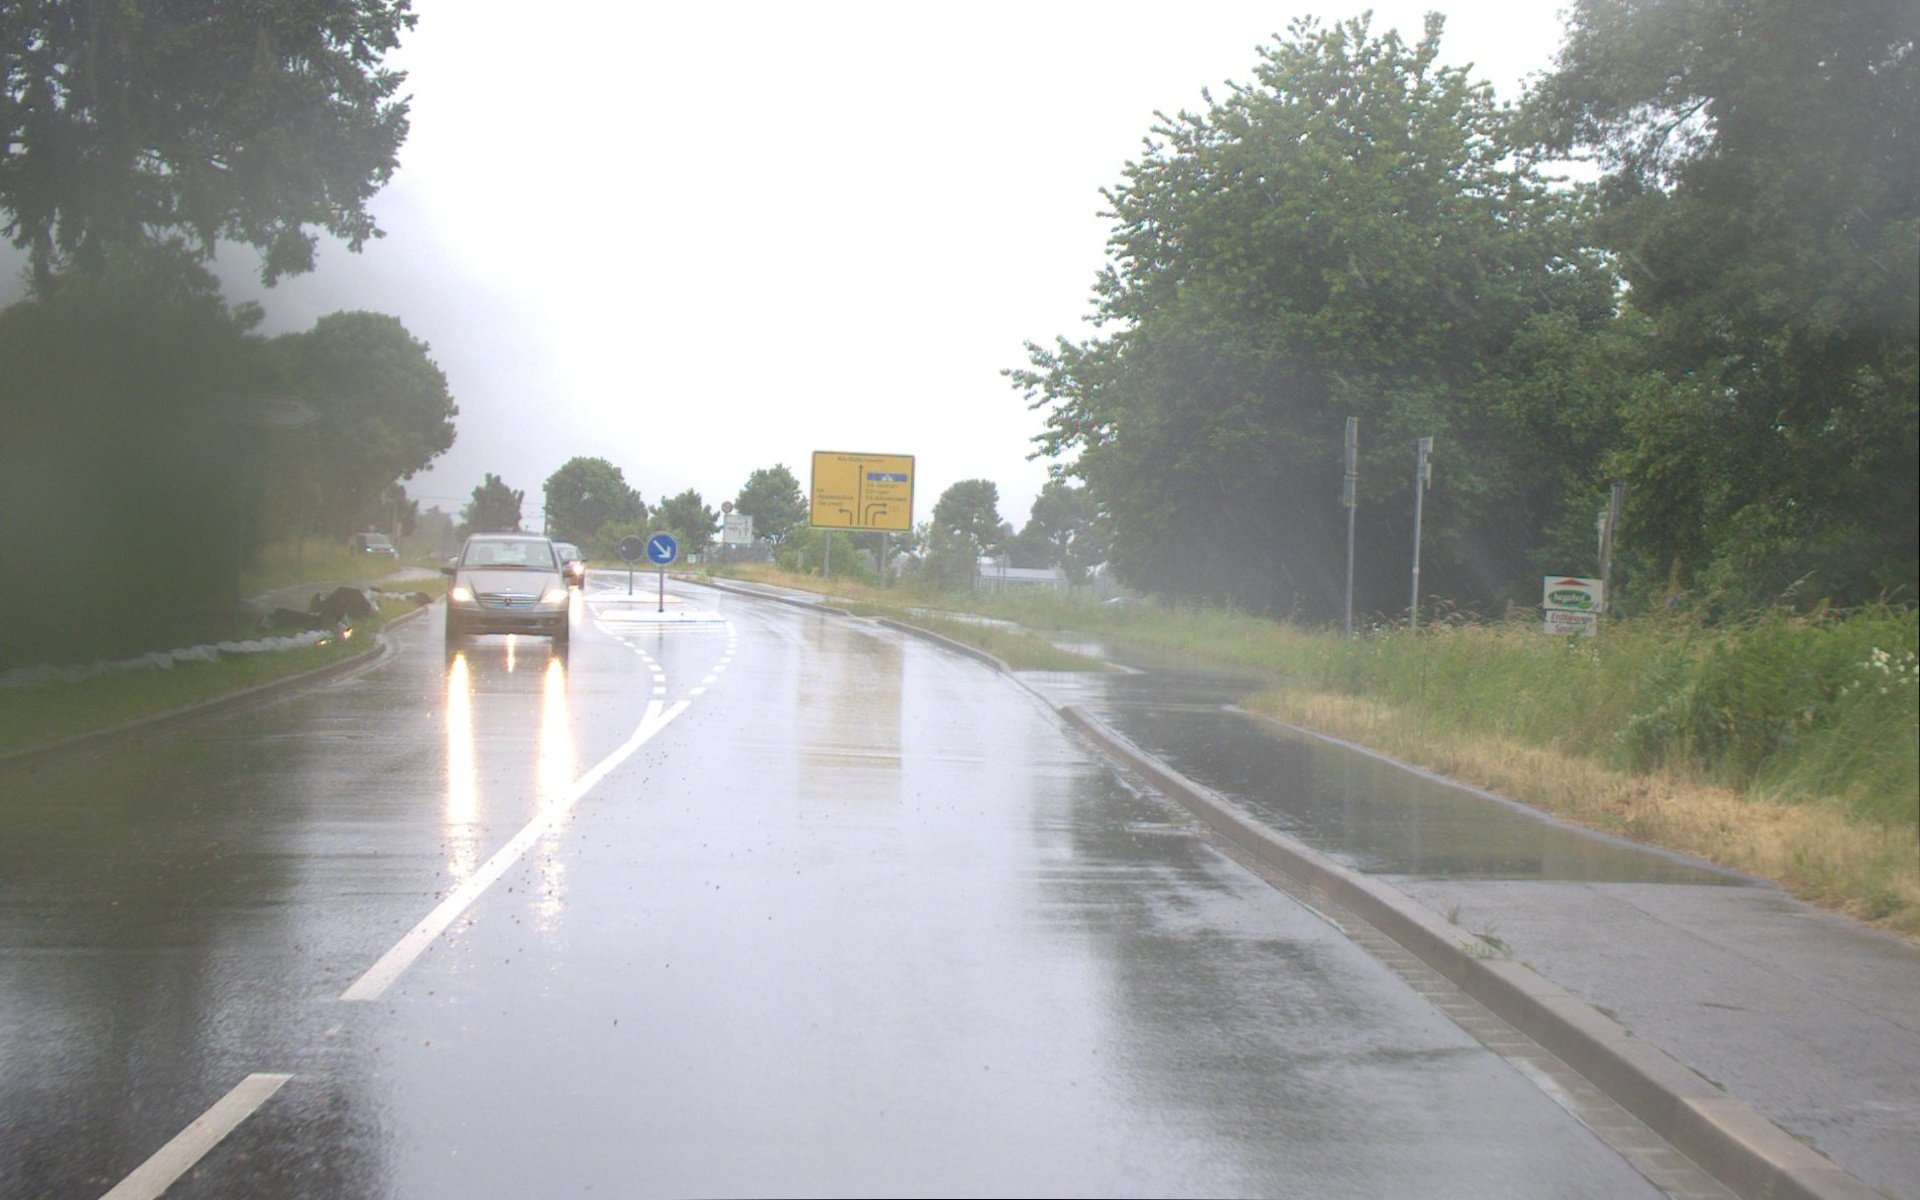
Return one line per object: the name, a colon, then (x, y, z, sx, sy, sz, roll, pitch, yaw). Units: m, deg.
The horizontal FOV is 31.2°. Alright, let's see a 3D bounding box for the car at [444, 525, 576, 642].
car: (-6.580, -0.237, 50.580, 1.760, 1.547, 4.001, 4, 0, -6)
